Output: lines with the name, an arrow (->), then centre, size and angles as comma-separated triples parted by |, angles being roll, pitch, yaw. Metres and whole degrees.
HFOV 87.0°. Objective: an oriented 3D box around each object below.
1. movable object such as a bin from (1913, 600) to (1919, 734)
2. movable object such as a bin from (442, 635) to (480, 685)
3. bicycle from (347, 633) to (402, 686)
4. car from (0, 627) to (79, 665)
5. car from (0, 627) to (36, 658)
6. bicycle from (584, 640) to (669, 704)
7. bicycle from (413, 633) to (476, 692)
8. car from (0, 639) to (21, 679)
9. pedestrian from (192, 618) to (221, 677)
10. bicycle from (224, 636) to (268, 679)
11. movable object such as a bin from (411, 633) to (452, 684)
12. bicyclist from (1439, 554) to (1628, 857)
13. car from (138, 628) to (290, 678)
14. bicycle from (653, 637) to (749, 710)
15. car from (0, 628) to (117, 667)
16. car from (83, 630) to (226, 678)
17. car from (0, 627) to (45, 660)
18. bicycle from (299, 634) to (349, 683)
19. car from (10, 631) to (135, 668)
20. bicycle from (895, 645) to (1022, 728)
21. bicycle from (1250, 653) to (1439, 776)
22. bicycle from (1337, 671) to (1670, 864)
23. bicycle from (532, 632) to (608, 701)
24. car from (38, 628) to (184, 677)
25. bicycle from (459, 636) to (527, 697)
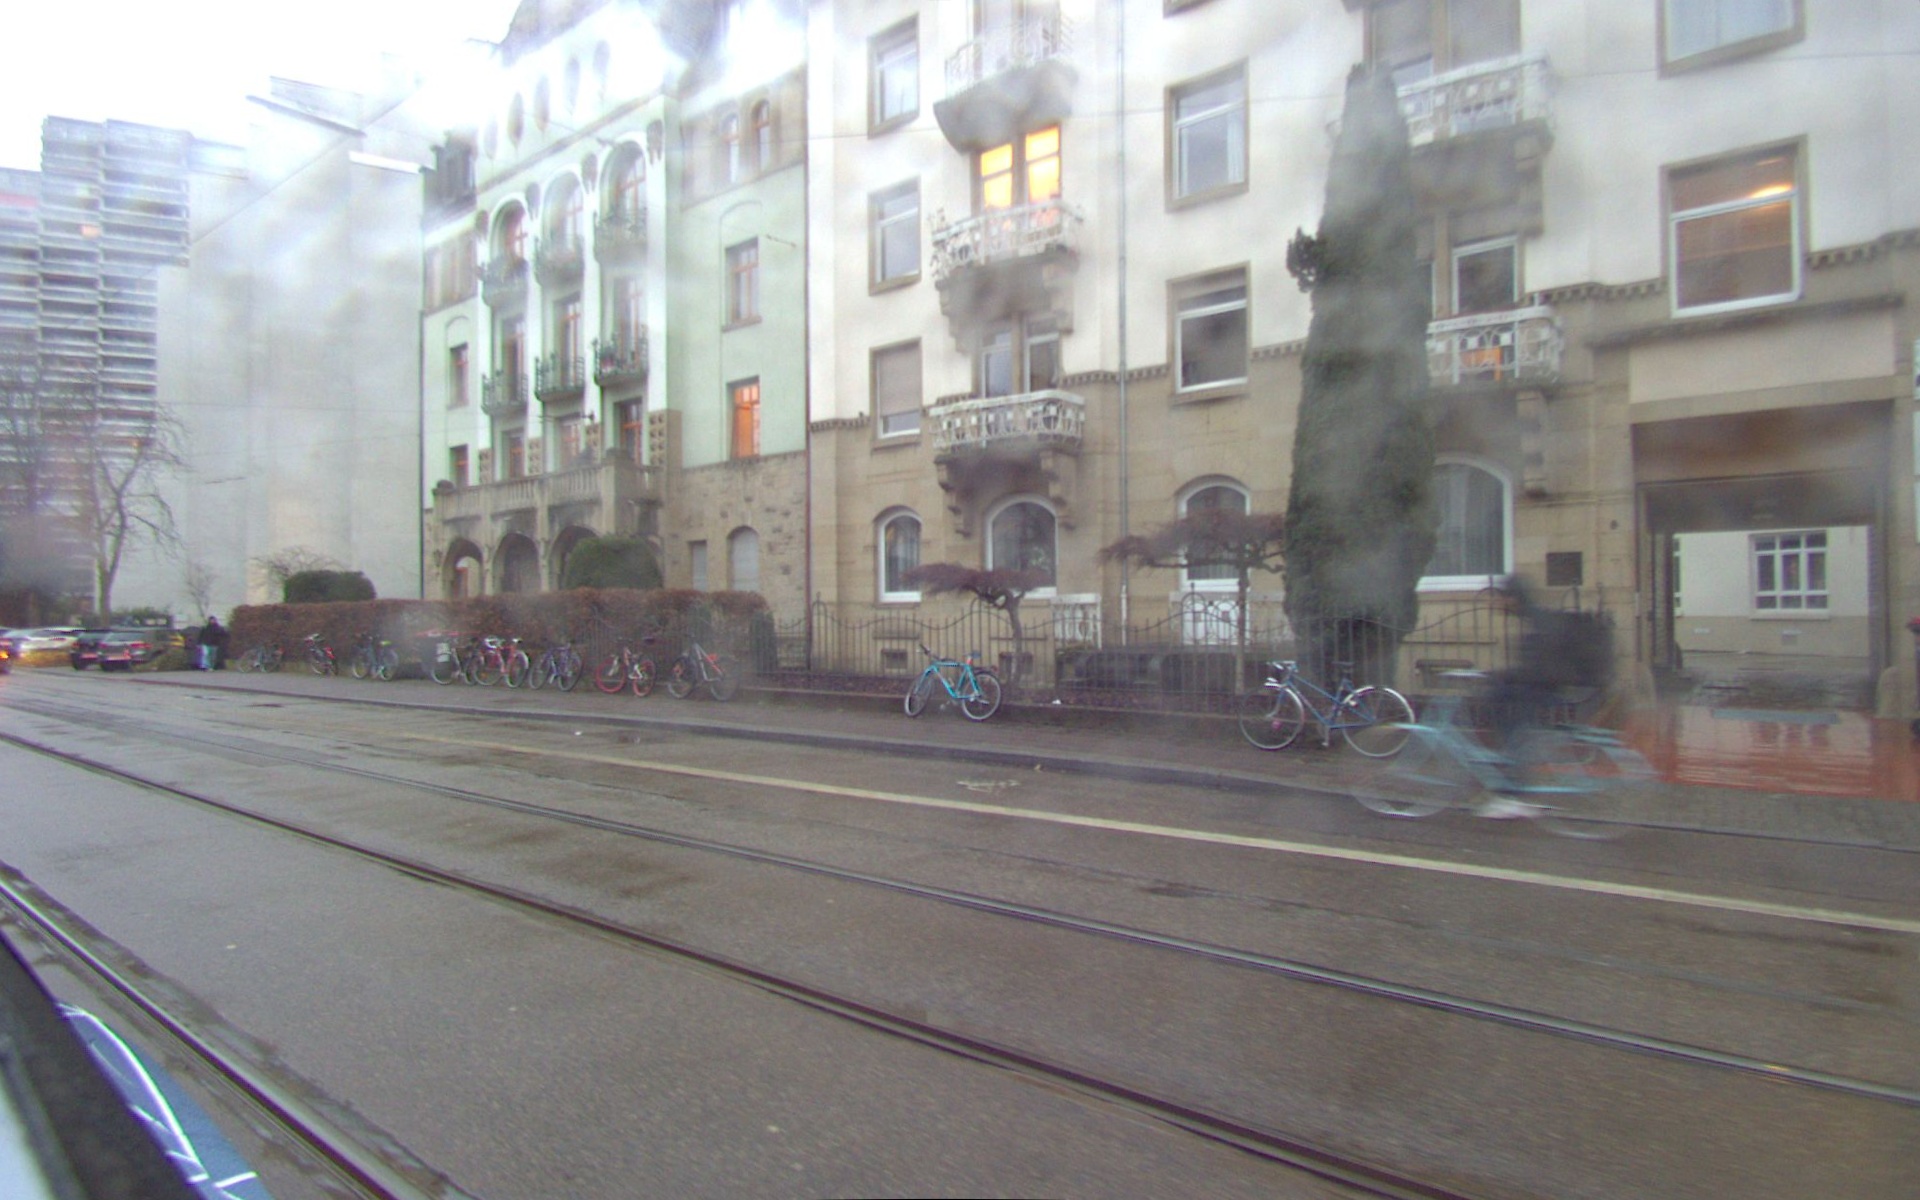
movable object such as a bin -> 10.310, 0.706, 10.011 | 1.166, 1.390, 1.092 | -2, 1, 39
movable object such as a bin -> -12.062, 1.430, 24.477 | 0.674, 1.173, 0.617 | -2, -2, 40
bicycle -> -14.078, 1.405, 24.332 | 1.661, 1.221, 0.617 | -2, -2, 40
car -> -43.558, 2.109, 46.994 | 1.843, 1.608, 3.999 | -1, -1, 0
car -> -50.926, 2.236, 52.757 | 1.843, 1.608, 3.999 | -1, -1, 0
bicycle -> -5.905, 1.244, 17.891 | 1.725, 1.073, 0.617 | -2, -2, 40
bicycle -> -11.160, 1.332, 21.878 | 1.661, 1.221, 0.617 | -2, -2, 40
car -> -30.969, 1.856, 31.434 | 1.682, 1.262, 3.678 | 1, -2, -27
pedestrian -> -22.806, 1.437, 30.633 | 0.644, 1.738, 0.567 | 0, 1, 41
bicycle -> -20.383, 1.630, 28.879 | 1.661, 1.173, 0.617 | -2, -1, 40
movable object such as a bin -> -12.516, 1.368, 23.957 | 0.674, 1.173, 0.651 | -2, -2, 40
bicyclist -> 3.899, 0.672, 6.903 | 0.990, 1.891, 0.617 | -2, -2, 40
car -> -24.944, 1.746, 34.015 | 1.848, 1.505, 3.989 | -1, -1, 9
bicycle -> -4.275, 1.176, 16.619 | 1.782, 1.134, 0.617 | -2, -2, 40
car -> -40.715, 2.101, 45.801 | 1.843, 1.608, 3.999 | -1, -1, 0
car -> -27.535, 1.811, 34.763 | 1.740, 1.497, 3.999 | -1, -1, 0
car -> -48.715, 2.196, 50.863 | 1.843, 1.608, 3.999 | -1, -1, 0
bicycle -> -16.295, 1.480, 25.921 | 1.661, 1.221, 0.617 | -2, -2, 40
car -> -37.852, 2.079, 43.284 | 1.843, 1.460, 3.999 | -1, -1, 0
bicycle -> -0.040, 1.105, 13.343 | 1.661, 1.010, 0.617 | -2, -2, 40
bicycle -> 3.849, 1.106, 10.207 | 1.661, 1.101, 0.617 | -2, -2, 40
bicycle -> 3.720, 1.084, 7.053 | 1.946, 1.101, 0.617 | -2, -2, 40
bicycle -> -7.334, 1.222, 18.990 | 1.661, 1.221, 0.617 | -2, -2, 40
car -> -30.226, 1.832, 36.197 | 1.843, 1.608, 3.999 | -1, -1, 0
bicycle -> -9.518, 1.326, 20.598 | 1.661, 1.173, 0.617 | -2, -2, 40
